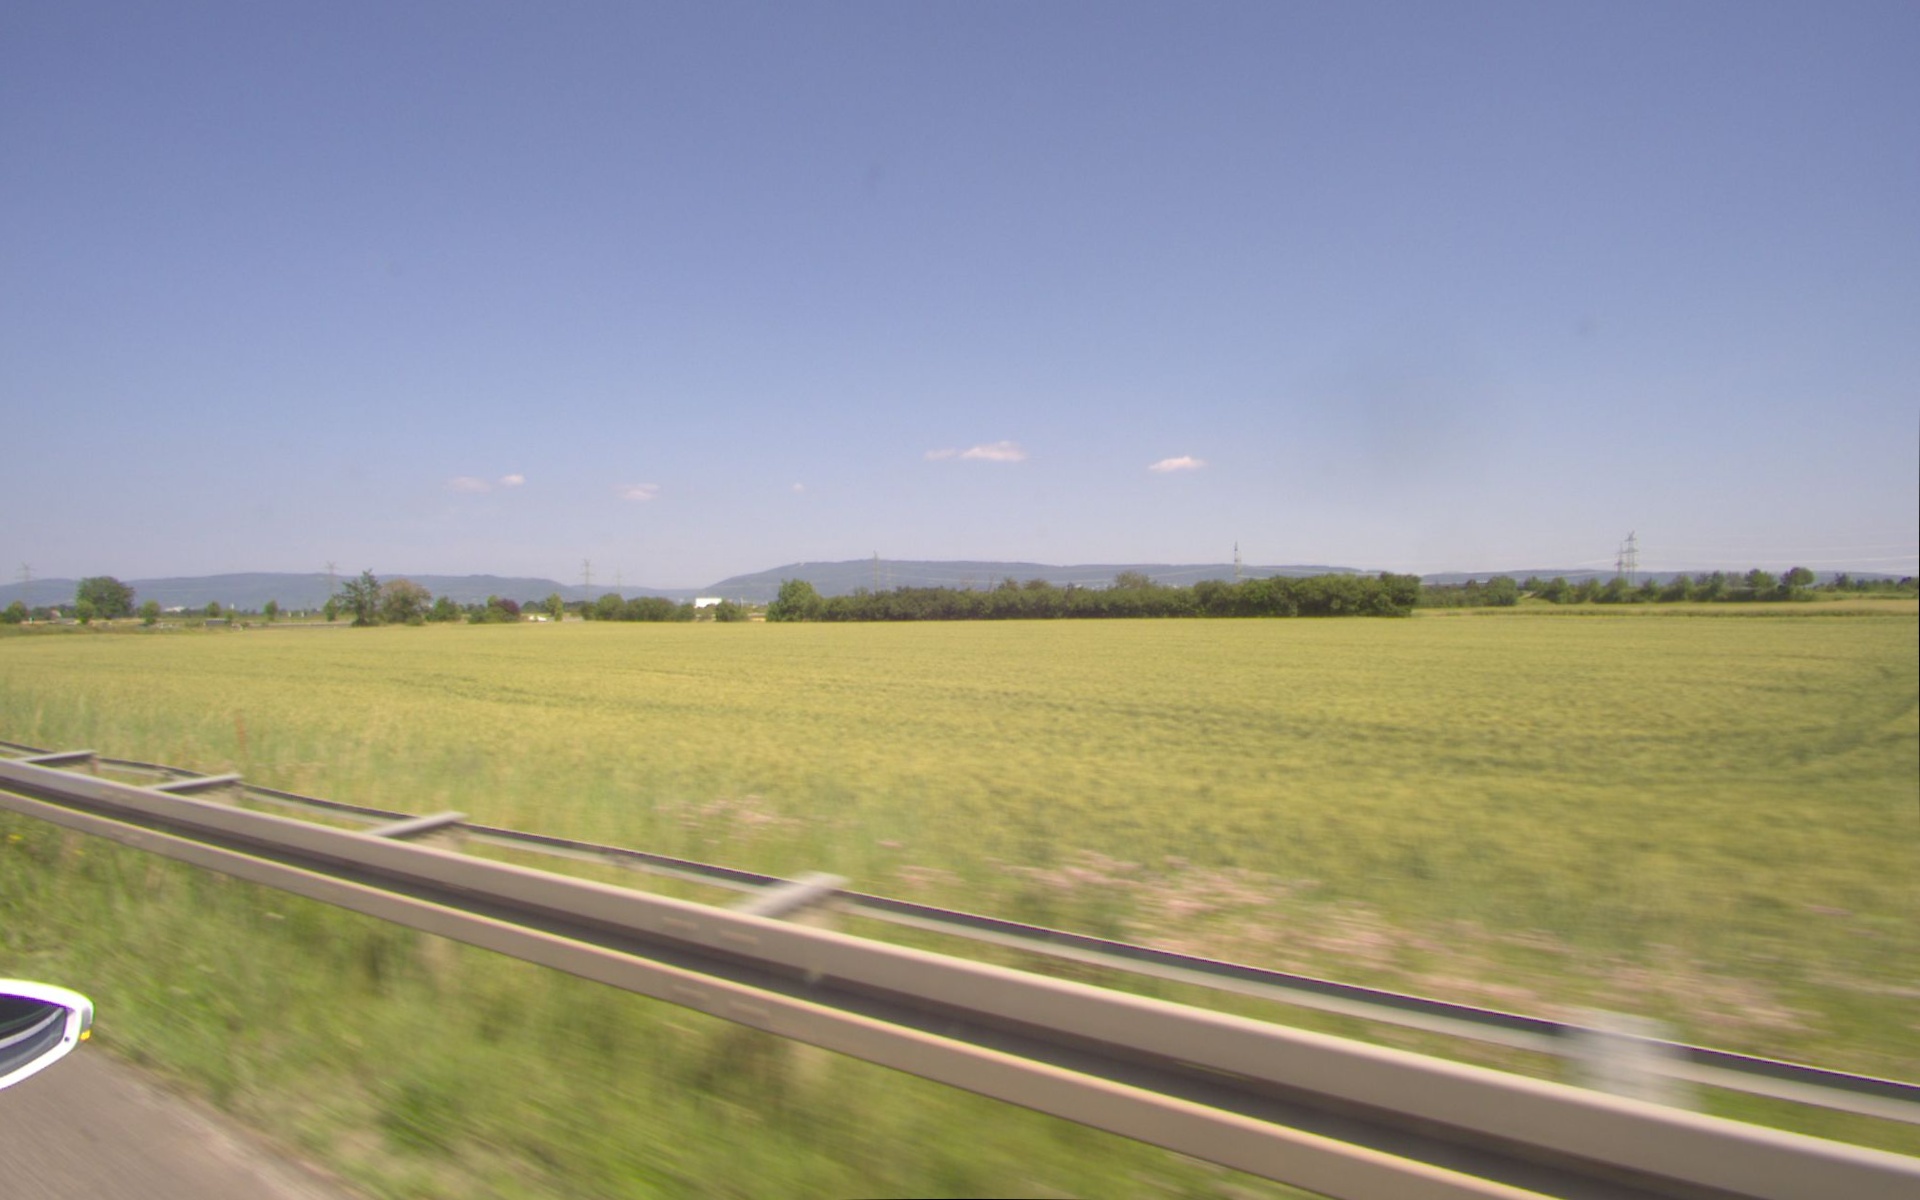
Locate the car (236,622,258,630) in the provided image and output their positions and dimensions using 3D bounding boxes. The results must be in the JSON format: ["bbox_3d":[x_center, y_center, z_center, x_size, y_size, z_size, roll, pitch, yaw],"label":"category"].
[{"bbox_3d":[-136.318,4.990,191.529,1.617,1.505,3.486,0,-2,2],"label":"car"}]
